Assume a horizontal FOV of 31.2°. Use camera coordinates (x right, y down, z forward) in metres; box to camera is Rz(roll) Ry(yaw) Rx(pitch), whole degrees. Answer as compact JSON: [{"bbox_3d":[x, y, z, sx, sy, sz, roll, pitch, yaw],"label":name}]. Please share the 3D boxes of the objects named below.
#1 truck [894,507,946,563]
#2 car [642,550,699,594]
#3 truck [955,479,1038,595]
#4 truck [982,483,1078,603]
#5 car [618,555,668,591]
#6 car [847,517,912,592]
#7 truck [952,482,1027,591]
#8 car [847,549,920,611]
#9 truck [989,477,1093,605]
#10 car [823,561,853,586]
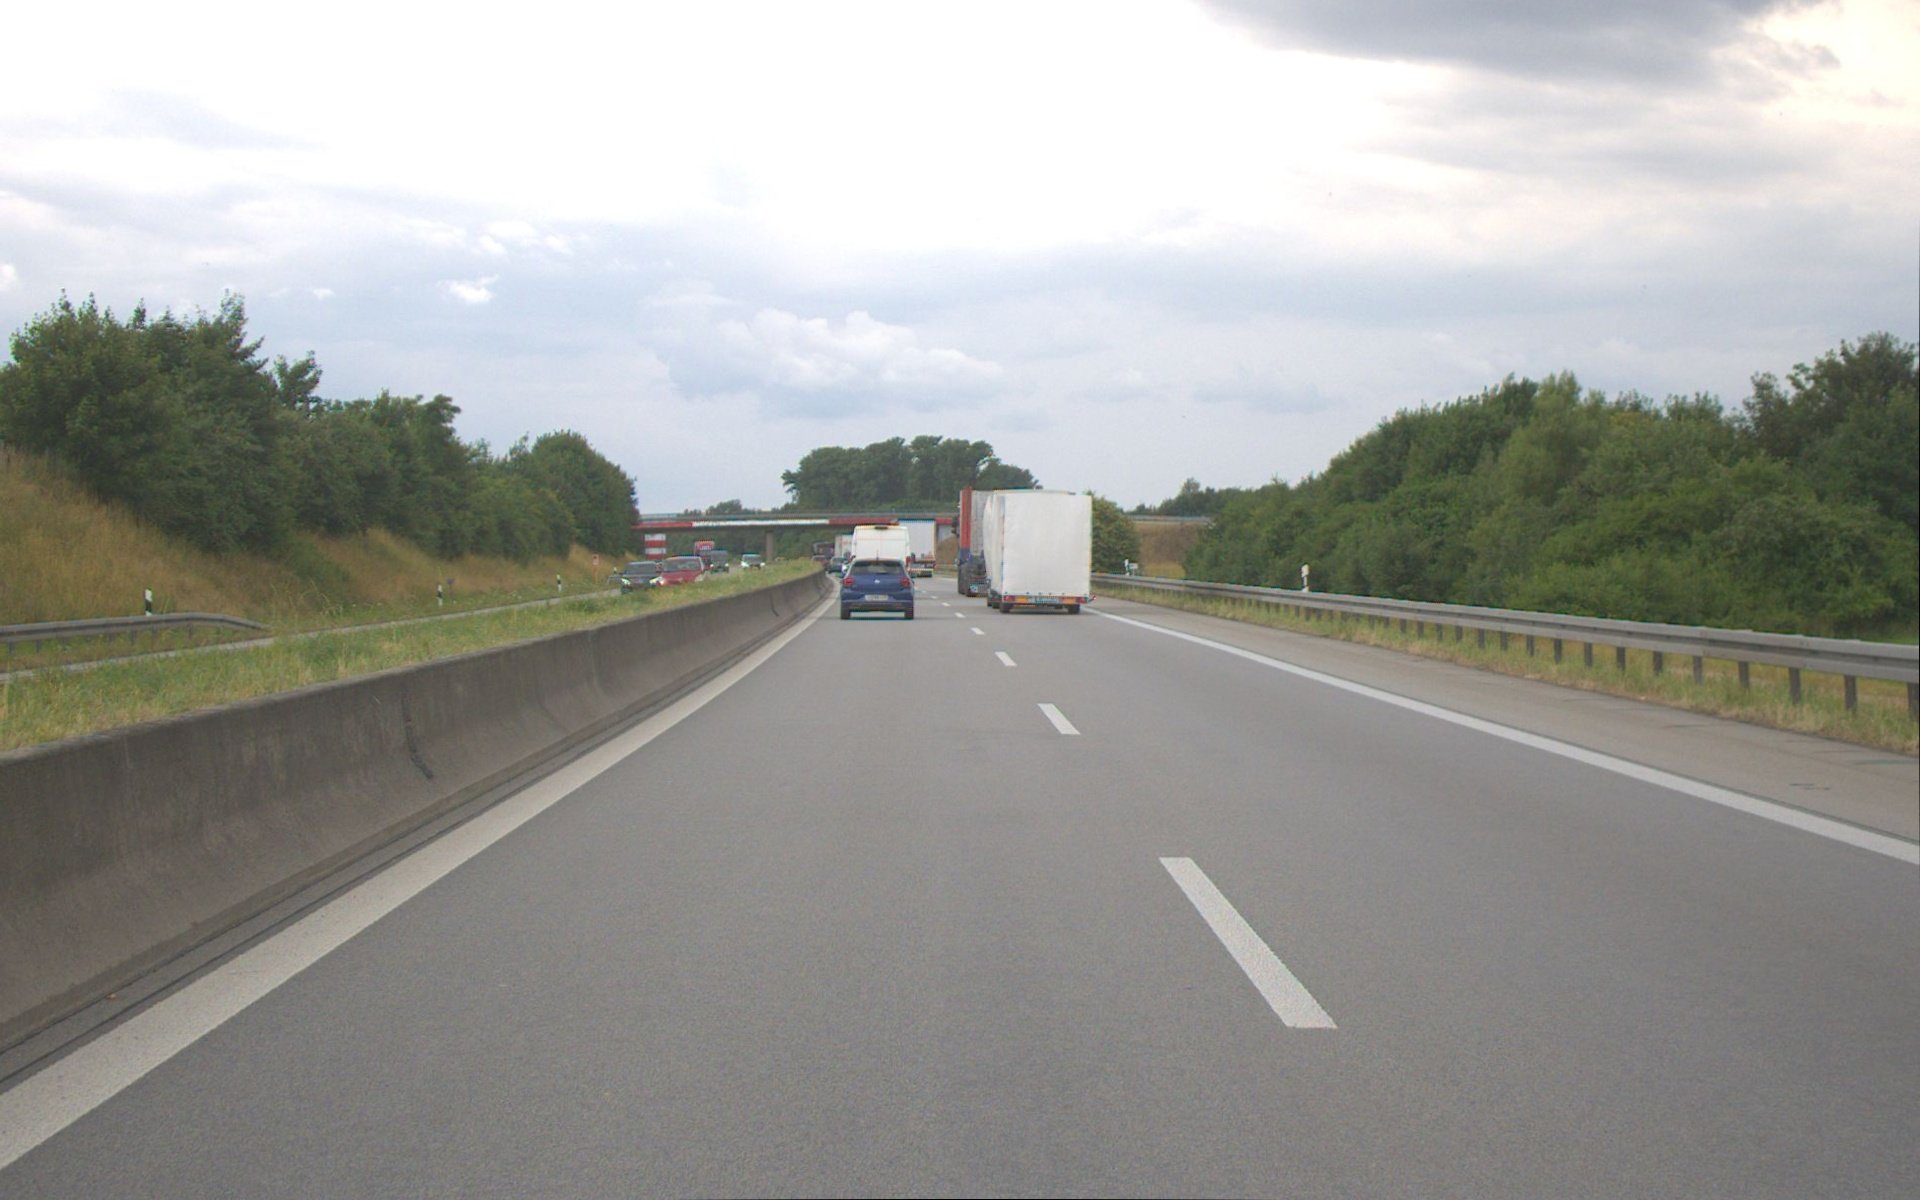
[{"bbox_3d":[-2.804,-4.494,238.411,3.110,3.677,9.324,-2,1,-3],"label":"truck"},{"bbox_3d":[-11.169,-1.092,132.785,1.845,1.566,4.361,-2,1,-1],"label":"car"},{"bbox_3d":[1.283,-2.337,126.187,2.673,4.032,11.108,-1,1,-1],"label":"truck"},{"bbox_3d":[1.911,-1.588,96.522,2.429,3.232,7.247,0,1,-1],"label":"truck"},{"bbox_3d":[-14.382,-1.224,156.063,1.845,1.492,4.580,-3,1,-1],"label":"car"},{"bbox_3d":[-2.780,-1.548,117.318,2.130,2.474,5.840,-1,1,-2],"label":"car"},{"bbox_3d":[1.089,-2.447,131.529,2.673,4.032,5.513,-1,1,-1],"label":"truck"},{"bbox_3d":[-1.788,-0.476,80.289,1.663,1.402,3.649,0,1,-1],"label":"car"},{"bbox_3d":[2.047,-1.514,89.330,2.415,3.211,7.144,0,1,-1],"label":"truck"},{"bbox_3d":[-8.470,-1.856,238.239,1.993,1.678,4.001,0,1,-4],"label":"car"}]
